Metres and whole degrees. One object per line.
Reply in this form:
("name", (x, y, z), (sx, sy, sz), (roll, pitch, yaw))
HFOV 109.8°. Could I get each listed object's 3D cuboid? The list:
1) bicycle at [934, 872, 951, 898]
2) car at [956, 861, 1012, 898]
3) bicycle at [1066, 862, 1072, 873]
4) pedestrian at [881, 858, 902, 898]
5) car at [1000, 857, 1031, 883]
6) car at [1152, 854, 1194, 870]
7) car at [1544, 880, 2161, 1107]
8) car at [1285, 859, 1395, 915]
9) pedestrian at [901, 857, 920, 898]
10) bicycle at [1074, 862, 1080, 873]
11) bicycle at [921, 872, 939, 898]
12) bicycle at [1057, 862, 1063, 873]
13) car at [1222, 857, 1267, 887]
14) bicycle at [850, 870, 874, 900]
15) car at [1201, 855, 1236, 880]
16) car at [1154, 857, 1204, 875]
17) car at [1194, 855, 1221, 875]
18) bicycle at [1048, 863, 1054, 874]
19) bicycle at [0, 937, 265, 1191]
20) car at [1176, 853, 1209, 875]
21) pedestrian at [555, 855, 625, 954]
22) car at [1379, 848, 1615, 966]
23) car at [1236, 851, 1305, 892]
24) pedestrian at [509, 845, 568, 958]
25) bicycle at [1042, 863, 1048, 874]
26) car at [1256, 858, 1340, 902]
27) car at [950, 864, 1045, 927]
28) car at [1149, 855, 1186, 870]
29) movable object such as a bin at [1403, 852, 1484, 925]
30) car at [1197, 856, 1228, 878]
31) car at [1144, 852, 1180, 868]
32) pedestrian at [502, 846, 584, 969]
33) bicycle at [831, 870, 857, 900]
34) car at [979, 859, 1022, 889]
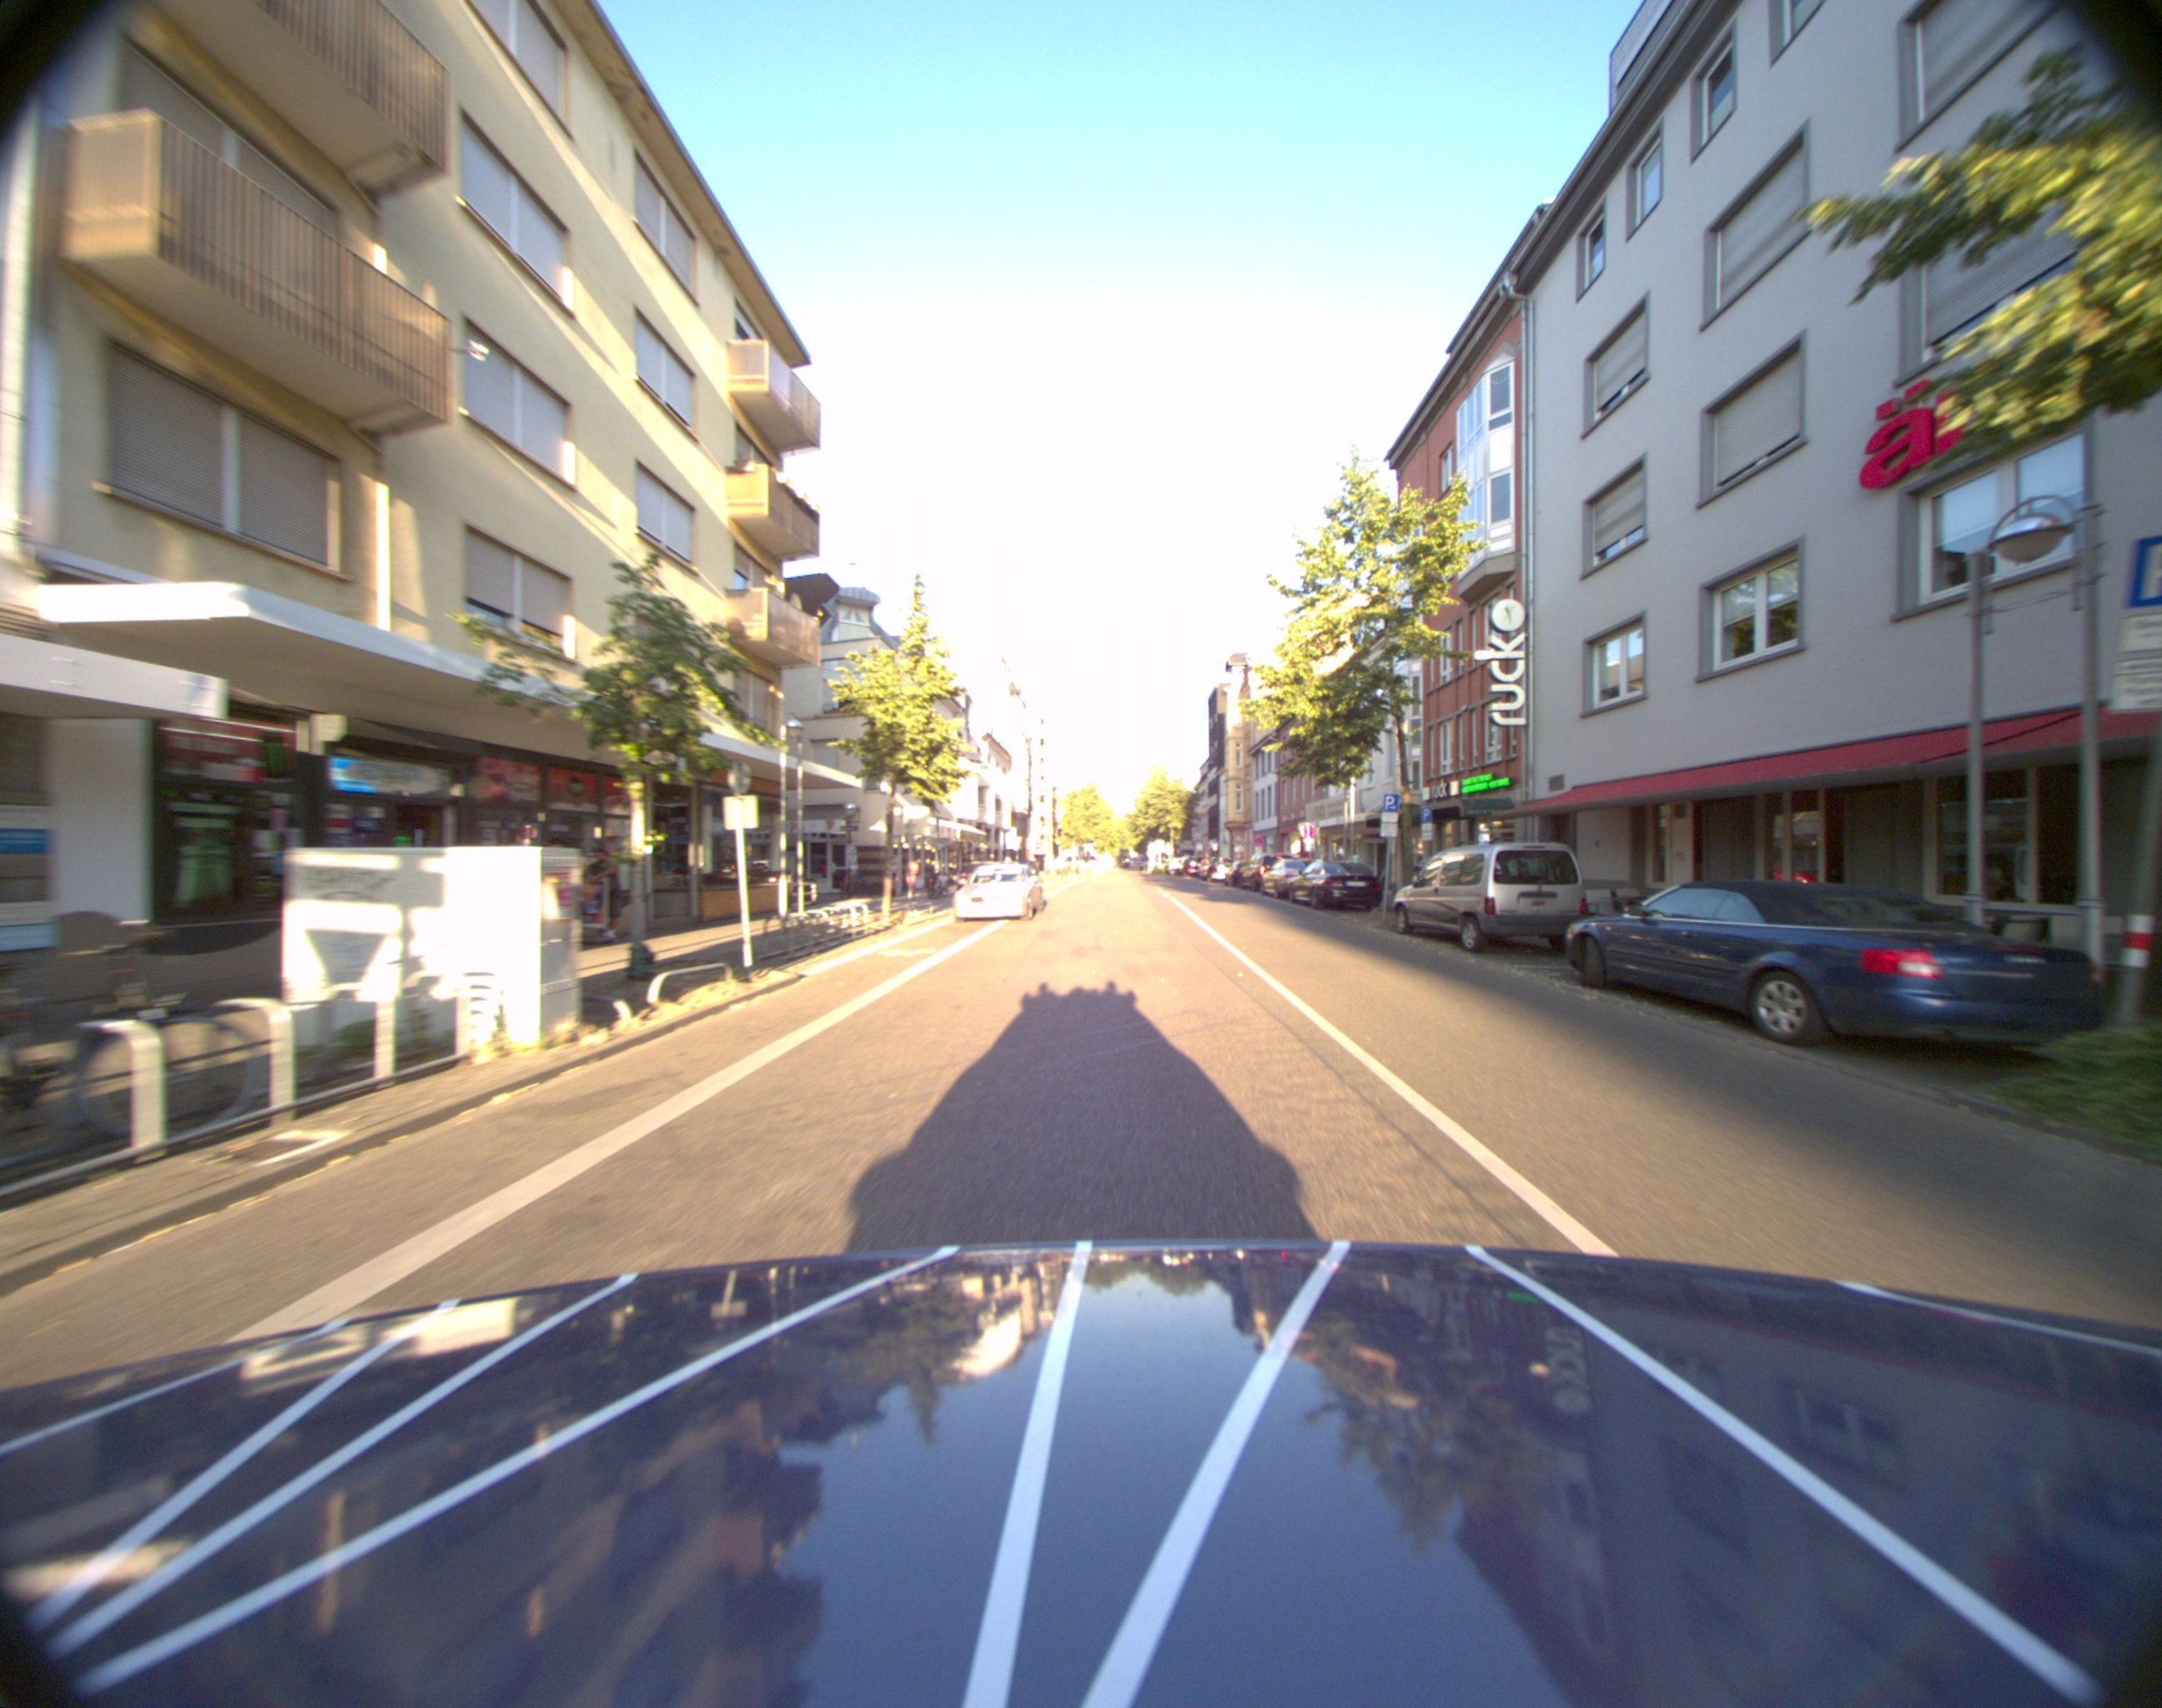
("bicycle", (-5.460, 1.202, 30.003), (0.392, 0.950, 1.615), (0, 0, -1))
("car", (-4.024, 1.036, 32.060), (1.726, 1.413, 4.033), (1, 0, 2))
("bicycle", (-1.089, 1.214, 68.700), (0.470, 0.952, 1.918), (0, 0, -2))
("pedestrian", (-7.213, 0.898, 28.939), (0.541, 1.521, 0.651), (0, 1, 8))
("car", (-3.987, 0.970, 46.682), (1.571, 1.540, 2.803), (1, 0, 2))
("car", (9.380, 0.826, 77.654), (3.910, 1.572, 1.959), (1, 0, -2))
("car", (6.755, 1.034, 7.408), (1.919, 1.378, 4.382), (1, 0, 2))
("car", (7.711, 0.922, 23.135), (1.919, 1.502, 4.639), (1, 0, 2))
("pedestrian", (-6.412, 0.874, 28.592), (0.541, 1.521, 0.555), (0, 1, 8))
("bicycle", (-0.335, 1.187, 68.787), (0.470, 0.952, 1.918), (0, 0, -2))
("bicycle", (-5.902, 1.217, 29.828), (0.392, 0.951, 1.639), (0, 0, -1))
("bicycle", (-1.895, 1.241, 68.568), (0.470, 0.952, 1.918), (0, 0, -2))
("car", (8.994, 0.959, 42.070), (1.770, 1.502, 4.218), (1, 0, 3))
("bicycle", (-8.155, 1.133, 28.367), (0.392, 1.044, 1.844), (0, 0, -1))
("car", (9.082, 0.867, 50.449), (1.770, 1.604, 4.218), (1, 0, 3))
("car", (8.957, 1.094, 69.787), (4.192, 1.572, 2.056), (1, 0, -2))
("car", (9.734, 0.847, 58.807), (1.689, 1.455, 3.543), (1, 0, 3))
("bicycle", (-2.684, 1.267, 68.281), (0.470, 0.952, 1.918), (0, 0, -2))
("bicycle", (-5.584, 1.075, 3.970), (1.919, 1.196, 0.469), (0, 1, -8))
("car", (9.277, 0.795, 63.705), (2.055, 1.742, 4.217), (1, 0, -1))
("pedestrian", (-8.543, 0.864, 13.258), (0.643, 1.650, 0.777), (-2, 0, 3))
("car", (7.163, 0.808, 13.662), (1.920, 1.777, 4.148), (1, 0, -1))
("car", (8.813, 0.770, 35.909), (1.998, 1.759, 5.299), (1, 0, 1))
("pedestrian", (-8.740, 0.750, 12.263), (0.582, 1.772, 0.527), (-2, 0, -17))
("bicycle", (-3.277, 1.291, 68.397), (0.470, 0.952, 1.918), (0, 0, -4))
("car", (8.105, 0.910, 28.872), (1.998, 1.502, 5.114), (1, 0, 3))
("car", (-2.053, 0.991, 19.935), (1.805, 1.370, 4.552), (-2, 0, 2))
("car", (10.288, 1.017, 90.810), (4.131, 1.666, 1.996), (1, 0, -1))
("movable object such as a bin", (8.892, 0.810, 18.720), (1.283, 1.663, 1.369), (-3, 0, 0))
("car", (9.422, 0.909, 54.833), (1.770, 1.455, 3.868), (1, 0, 3))
("car", (10.202, 0.708, 95.936), (4.192, 1.971, 2.056), (1, 0, -2))
("pedestrian", (-8.159, 0.795, 11.540), (0.709, 1.796, 0.650), (-2, 0, 3))
("bicycle", (-8.833, 1.137, 28.386), (0.392, 1.027, 1.844), (0, 0, -1))
("car", (-4.142, 1.001, 39.604), (1.726, 1.413, 3.749), (1, 0, 2))
